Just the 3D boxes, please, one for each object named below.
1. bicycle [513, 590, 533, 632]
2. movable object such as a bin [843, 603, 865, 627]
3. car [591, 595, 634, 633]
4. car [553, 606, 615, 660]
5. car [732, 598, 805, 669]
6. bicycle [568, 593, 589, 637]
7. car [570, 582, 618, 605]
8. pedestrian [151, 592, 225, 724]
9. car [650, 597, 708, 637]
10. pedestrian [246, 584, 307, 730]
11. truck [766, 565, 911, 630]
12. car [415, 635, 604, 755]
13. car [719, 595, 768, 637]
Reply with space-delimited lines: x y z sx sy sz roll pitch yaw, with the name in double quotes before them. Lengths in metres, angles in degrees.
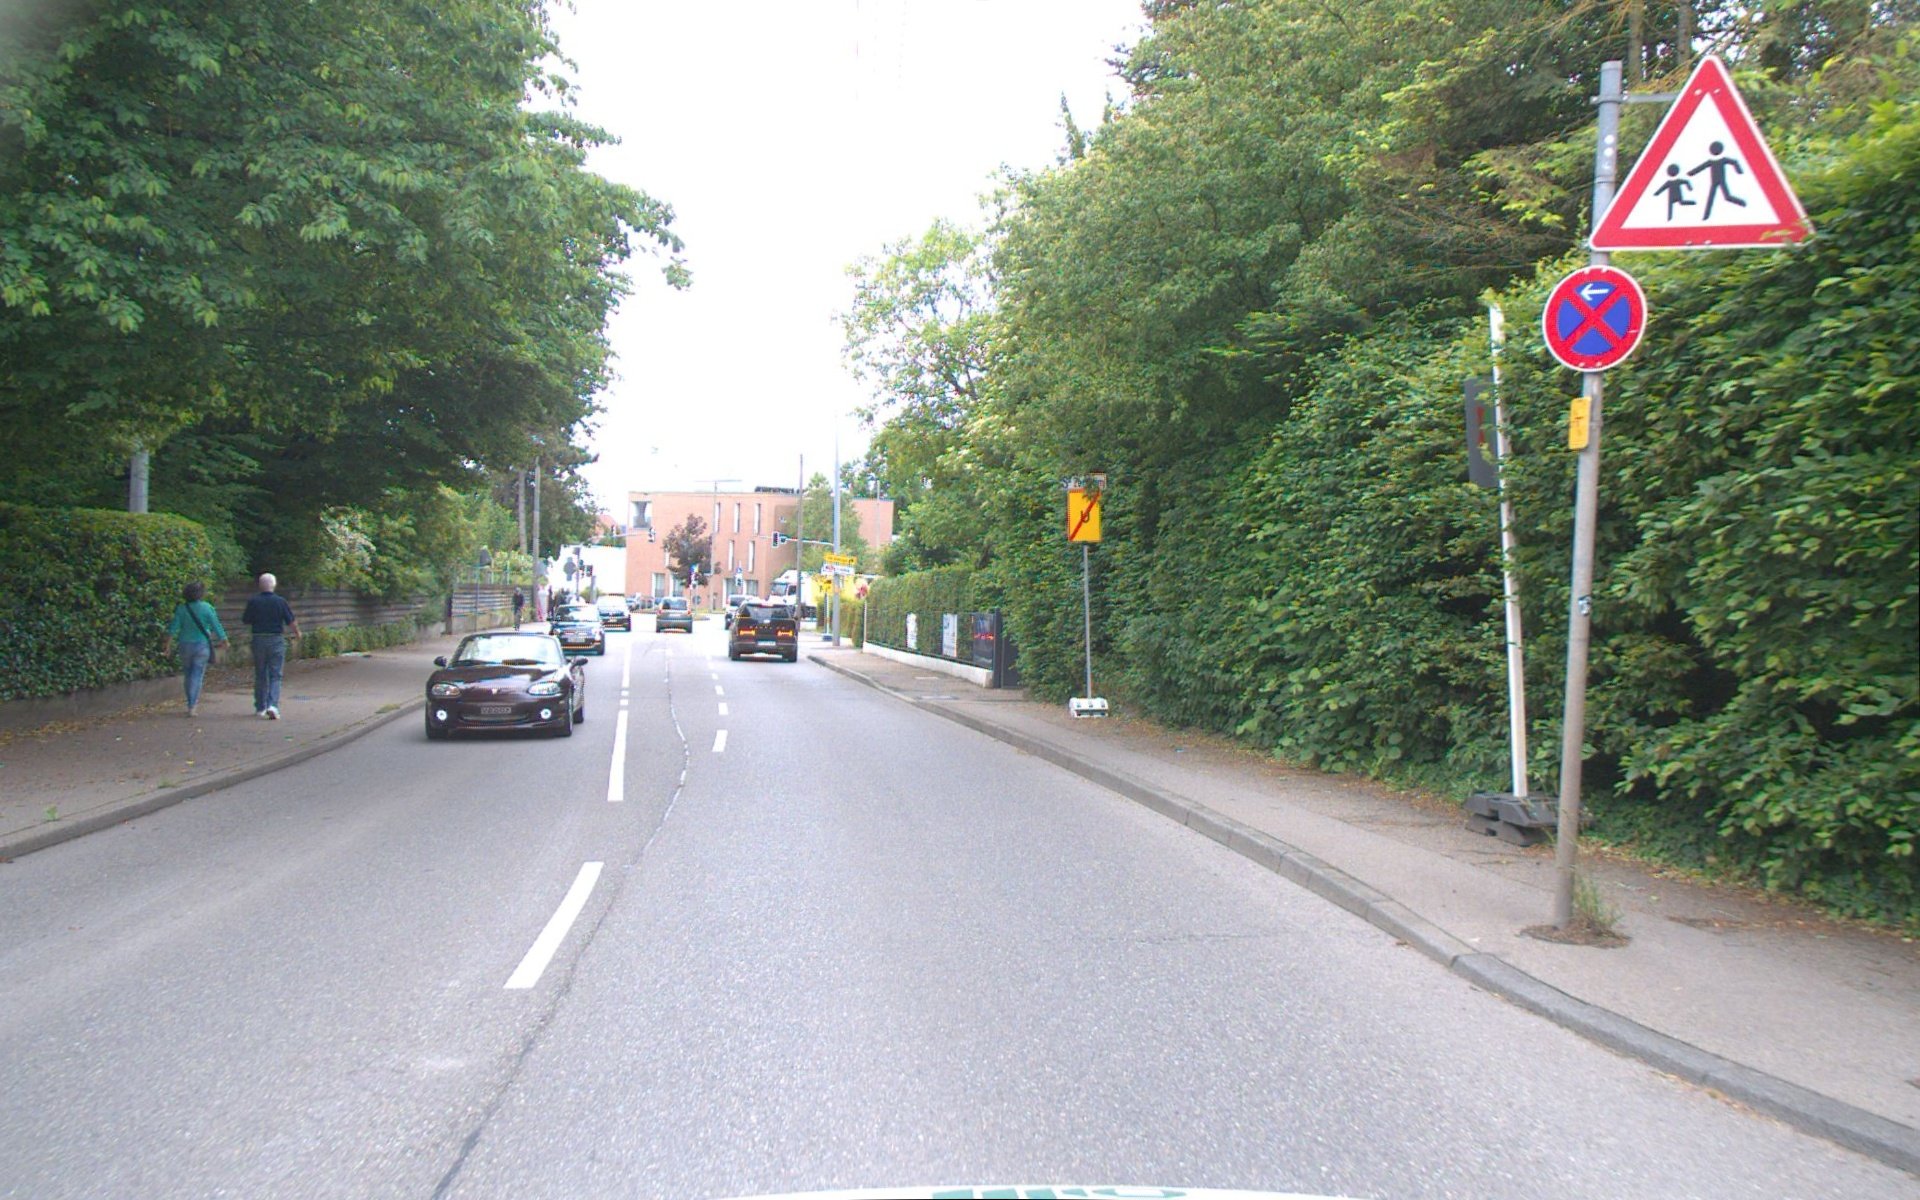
"bicycle" -18.174 0.454 68.816 0.551 1.705 1.976 2 0 -10
"movable object such as a bin" -5.001 0.710 77.895 0.670 1.092 0.711 2 -1 43
"car" -16.376 0.642 77.849 1.801 1.659 4.267 0 1 -14
"car" -11.300 0.963 49.546 1.691 1.497 3.517 0 0 -15
"car" -5.593 0.946 47.959 1.956 1.915 3.992 1 -1 -9
"bicycle" -15.923 0.609 69.012 0.745 1.775 1.867 0 0 -10
"car" -34.395 -0.599 155.378 3.958 2.049 1.974 1 1 -37
"pedestrian" -8.991 0.664 19.280 0.660 1.474 0.752 4 -1 -23
"car" -13.046 0.752 76.942 1.854 1.735 4.001 2 0 2
"pedestrian" -8.142 0.662 19.705 0.620 1.691 0.913 2 -1 -23
"truck" -9.373 -0.161 129.240 11.684 4.817 3.090 1 1 -40
"car" -5.361 1.081 20.111 1.659 1.197 3.781 0 0 -7
"car" -11.980 0.860 91.772 1.922 2.048 4.429 4 1 1
